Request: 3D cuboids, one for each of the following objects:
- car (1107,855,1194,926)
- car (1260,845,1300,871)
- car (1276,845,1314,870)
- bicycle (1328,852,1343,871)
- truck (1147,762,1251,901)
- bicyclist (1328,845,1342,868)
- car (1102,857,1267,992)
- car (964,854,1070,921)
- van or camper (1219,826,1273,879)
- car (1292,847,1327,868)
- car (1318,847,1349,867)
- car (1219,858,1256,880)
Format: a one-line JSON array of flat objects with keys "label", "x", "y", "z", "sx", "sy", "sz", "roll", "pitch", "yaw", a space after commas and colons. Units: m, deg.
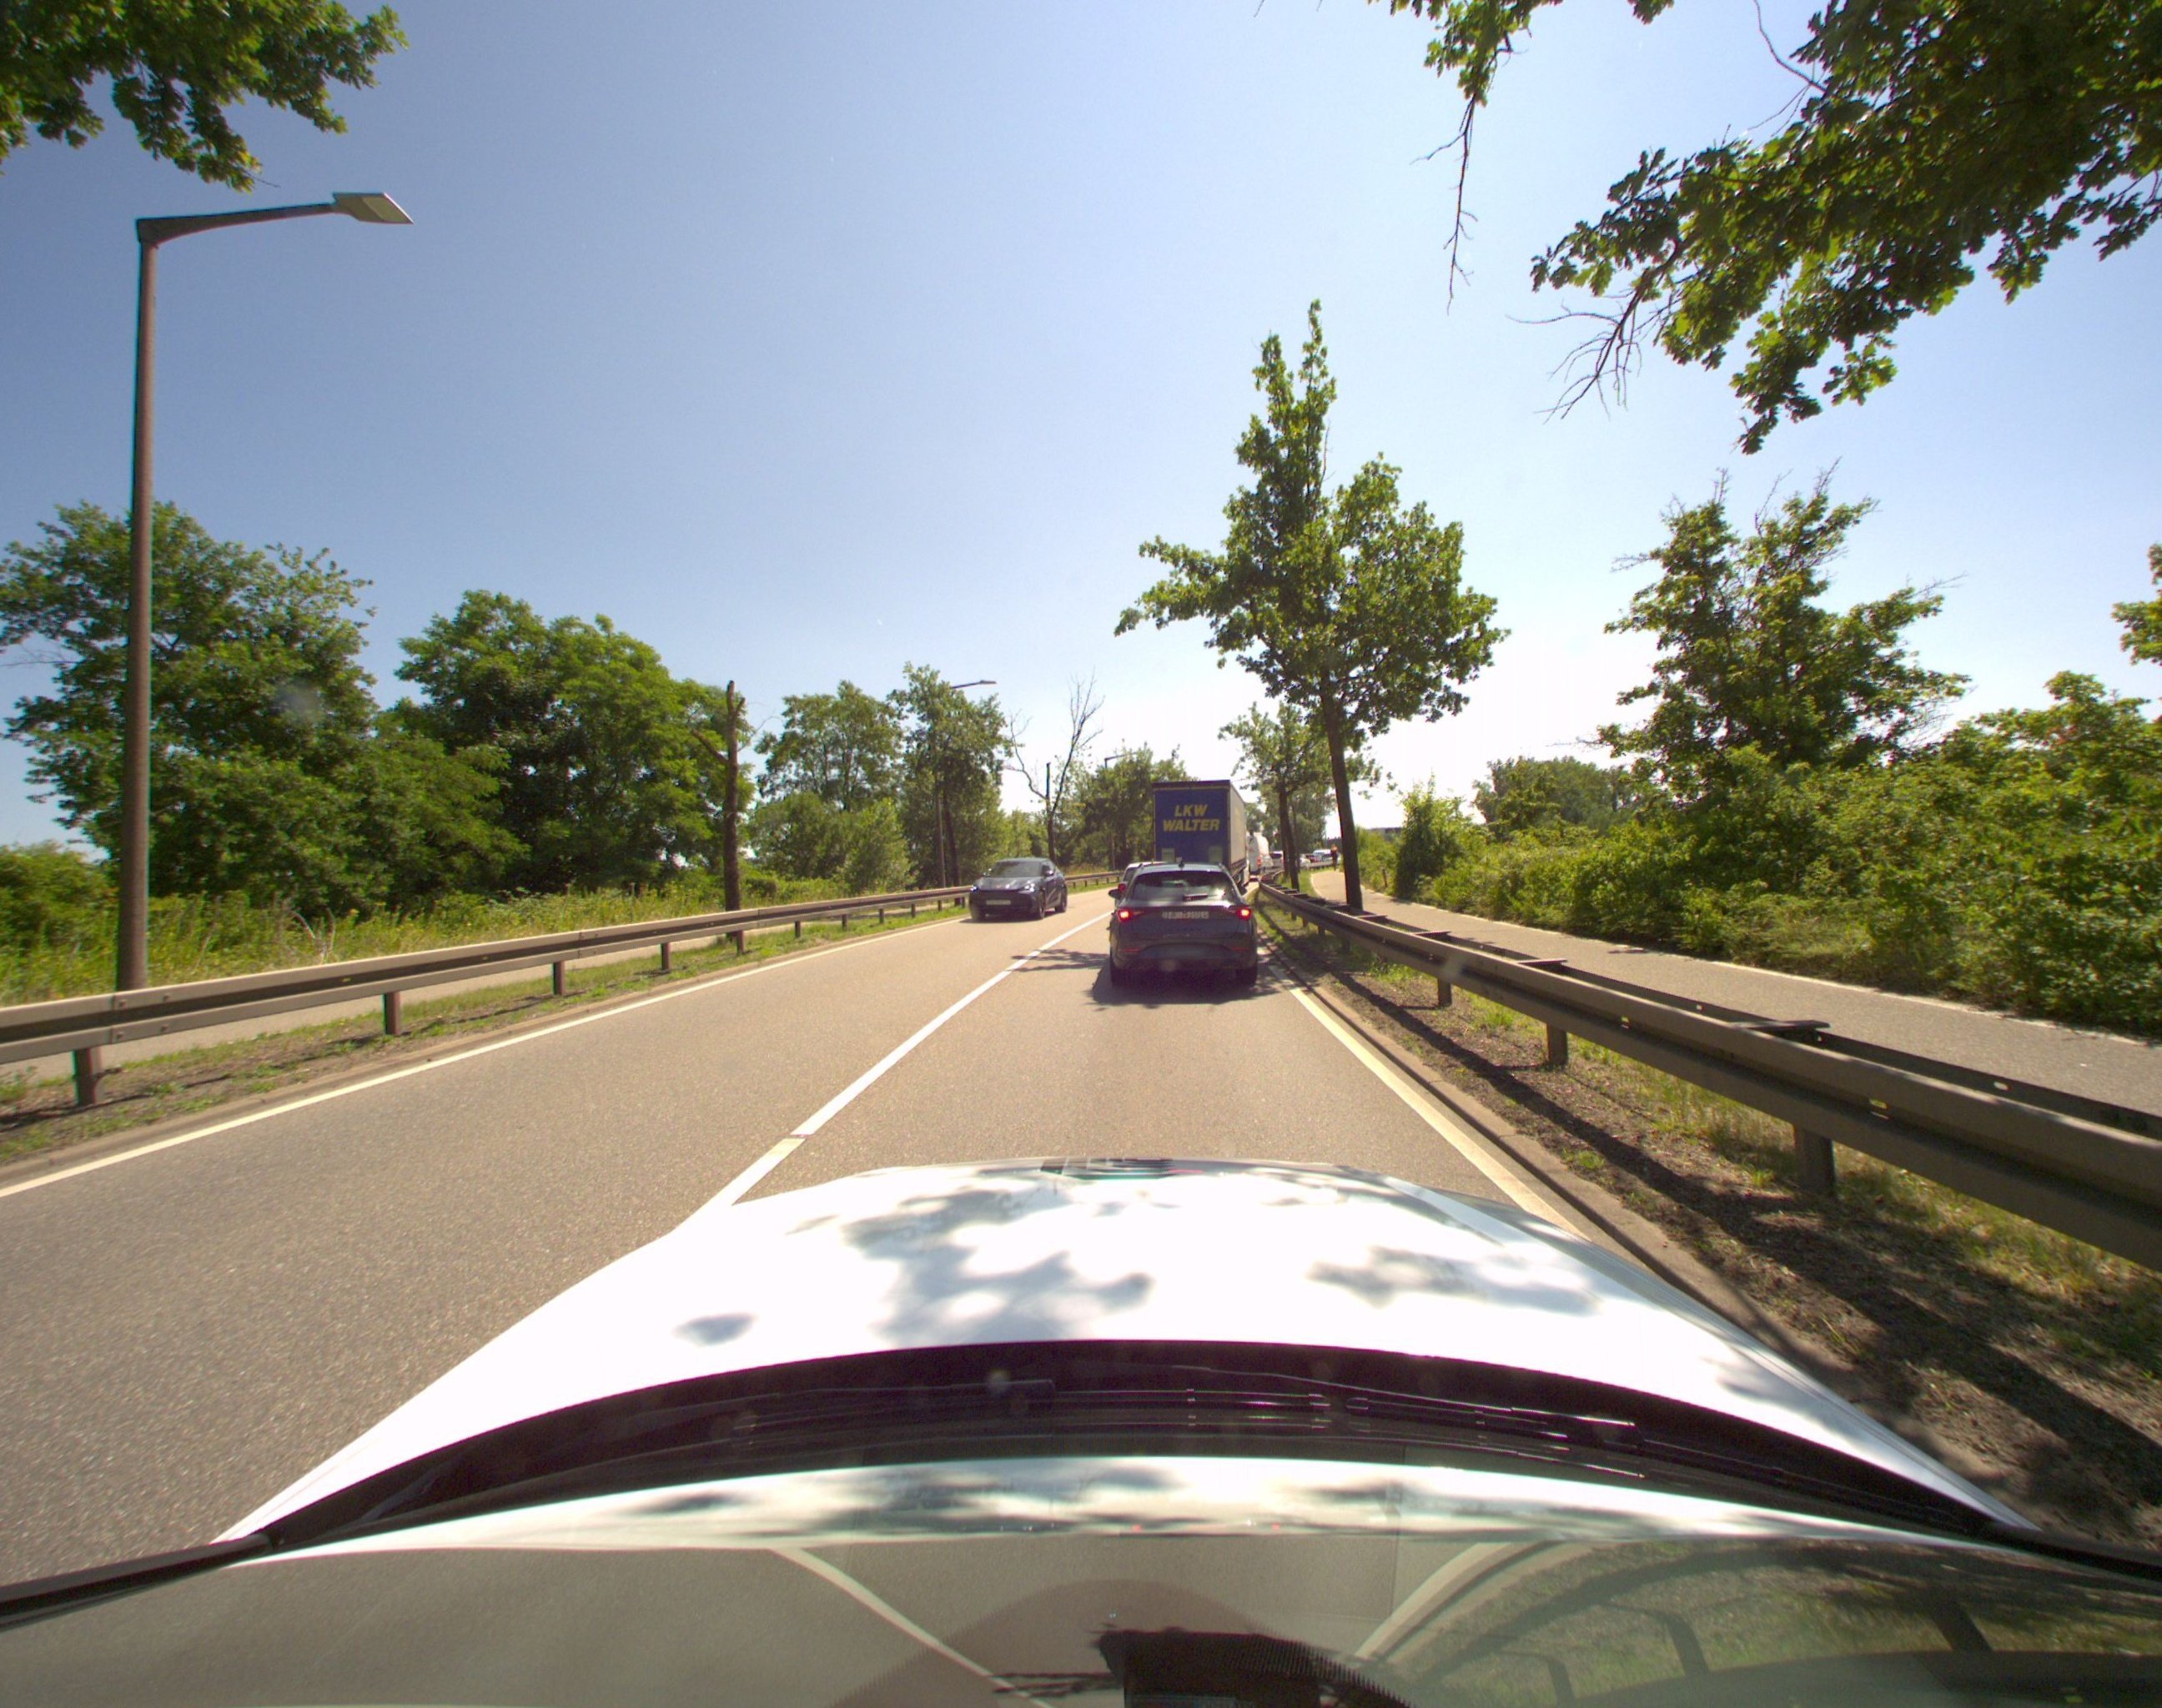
[{"label": "car", "x": 1.782, "y": 0.810, "z": 19.654, "sx": 1.799, "sy": 1.508, "sz": 4.010, "roll": -1, "pitch": -1, "yaw": 9}, {"label": "car", "x": 14.066, "y": 0.278, "z": 57.414, "sx": 1.976, "sy": 1.712, "sz": 4.645, "roll": -1, "pitch": -1, "yaw": 22}, {"label": "car", "x": 16.755, "y": 0.269, "z": 63.582, "sx": 1.975, "sy": 1.808, "sz": 4.873, "roll": -1, "pitch": -1, "yaw": 25}, {"label": "bicycle", "x": 17.150, "y": 0.501, "z": 54.898, "sx": 0.853, "sy": 1.237, "sz": 2.321, "roll": -1, "pitch": -1, "yaw": 20}, {"label": "truck", "x": 5.514, "y": -0.673, "z": 34.555, "sx": 2.929, "sy": 4.449, "sz": 16.856, "roll": -1, "pitch": -1, "yaw": 13}, {"label": "bicyclist", "x": 17.109, "y": 0.139, "z": 54.881, "sx": 0.853, "sy": 1.523, "sz": 0.985, "roll": -1, "pitch": -1, "yaw": 19}, {"label": "car", "x": 1.250, "y": 0.774, "z": 10.676, "sx": 1.736, "sy": 1.432, "sz": 3.884, "roll": -1, "pitch": -1, "yaw": 4}, {"label": "car", "x": -1.619, "y": 0.843, "z": 22.279, "sx": 1.858, "sy": 1.603, "sz": 4.404, "roll": -1, "pitch": 0, "yaw": 9}, {"label": "van or camper", "x": 10.047, "y": -0.055, "z": 49.108, "sx": 2.446, "sy": 2.998, "sz": 6.114, "roll": -1, "pitch": -1, "yaw": 18}, {"label": "car", "x": 19.742, "y": 0.290, "z": 70.100, "sx": 1.975, "sy": 1.717, "sz": 4.897, "roll": -1, "pitch": -1, "yaw": 26}, {"label": "car", "x": 23.632, "y": 0.281, "z": 76.218, "sx": 1.975, "sy": 1.768, "sz": 4.783, "roll": -1, "pitch": -1, "yaw": 27}, {"label": "car", "x": 12.269, "y": 1.118, "z": 63.533, "sx": 1.852, "sy": 1.603, "sz": 4.418, "roll": -1, "pitch": 0, "yaw": 24}]
